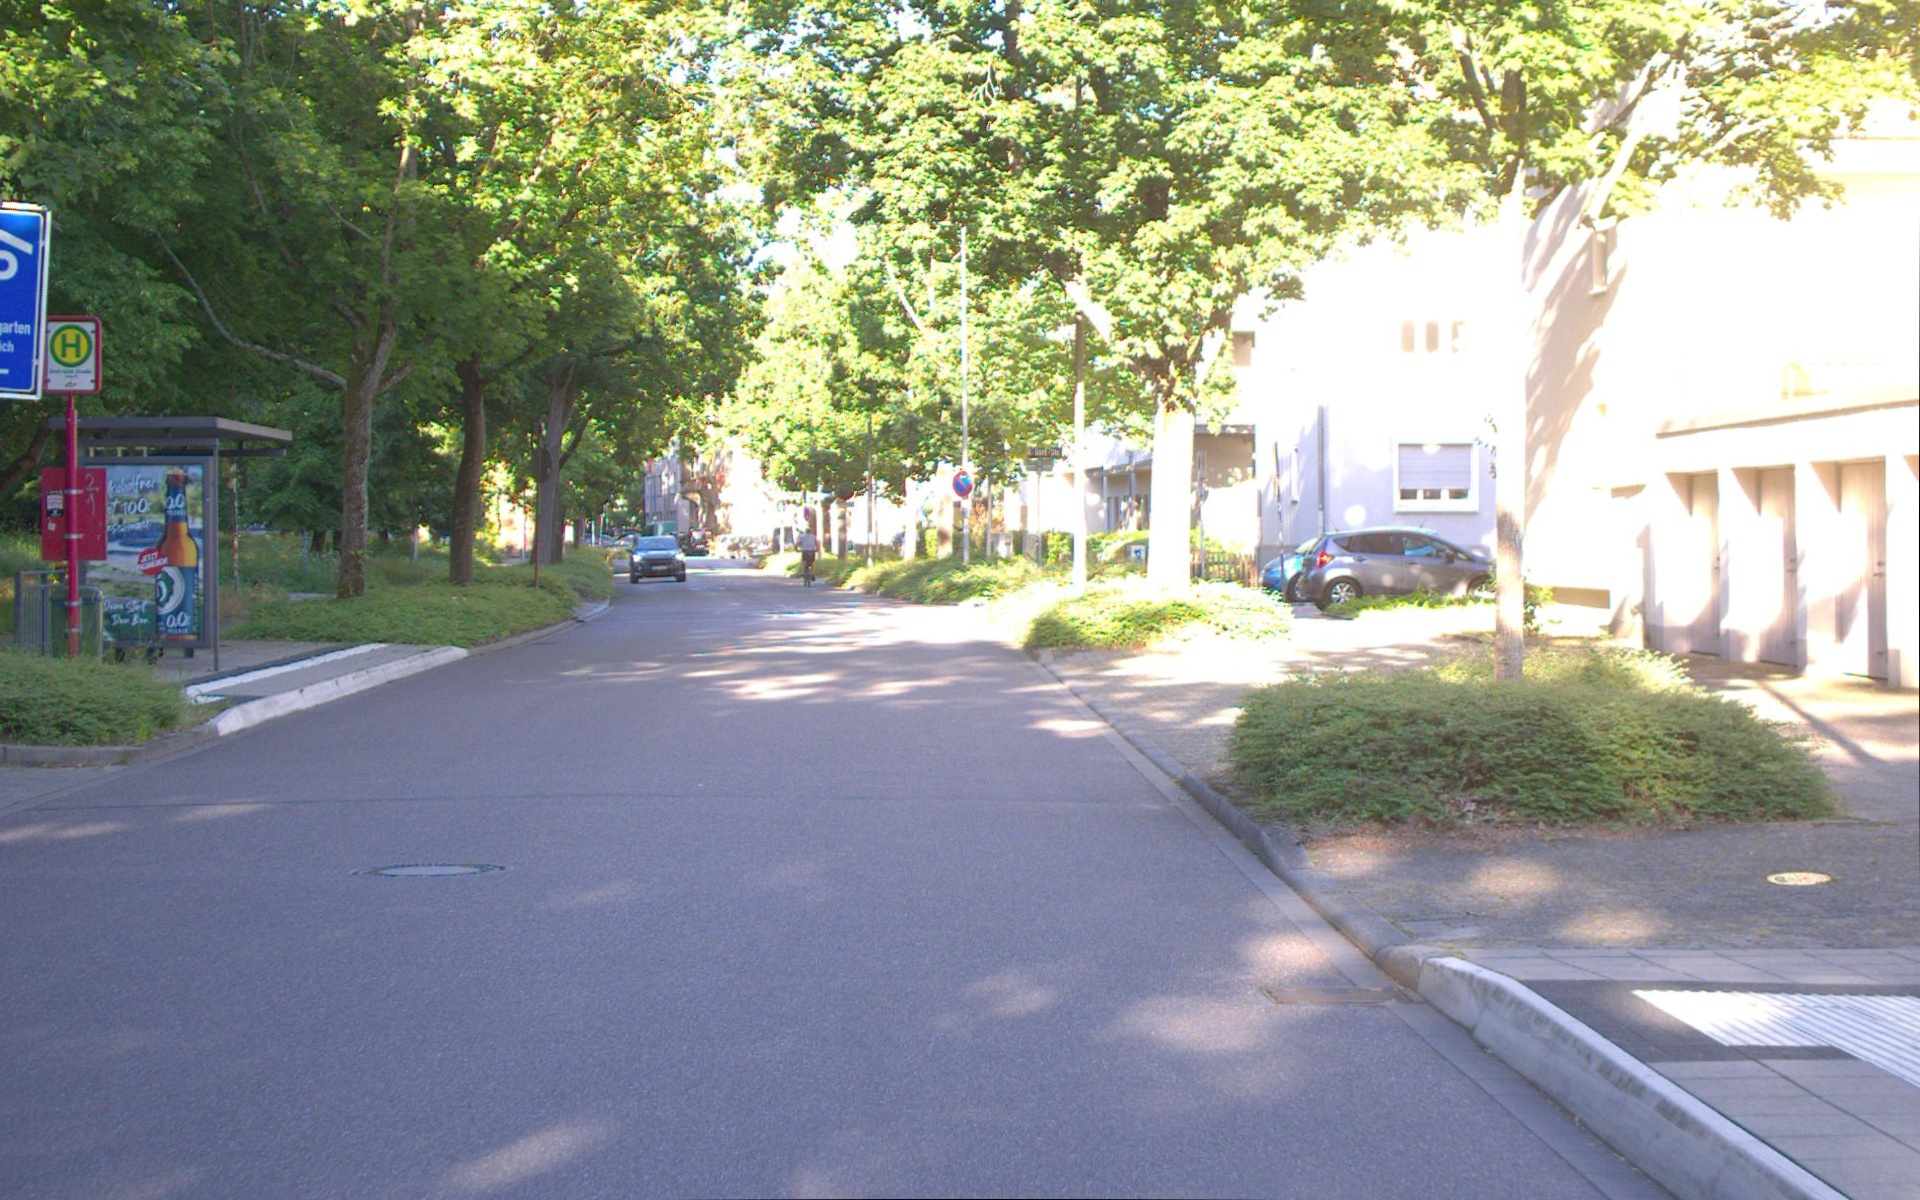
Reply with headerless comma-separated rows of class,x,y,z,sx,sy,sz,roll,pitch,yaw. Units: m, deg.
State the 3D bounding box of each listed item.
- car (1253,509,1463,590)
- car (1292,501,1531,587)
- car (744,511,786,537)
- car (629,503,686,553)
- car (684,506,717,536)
car,8.154,-1.044,70.593,3.986,1.576,1.810,0,3,-6
car,8.227,-1.021,62.808,4.040,1.509,1.727,1,0,-4
car,-11.560,-4.508,203.548,1.811,1.496,4.002,-1,2,-13
car,-10.185,-2.453,115.934,1.844,1.573,4.337,-2,2,-5
car,-17.508,-5.334,231.779,1.811,1.919,4.001,1,2,-9
